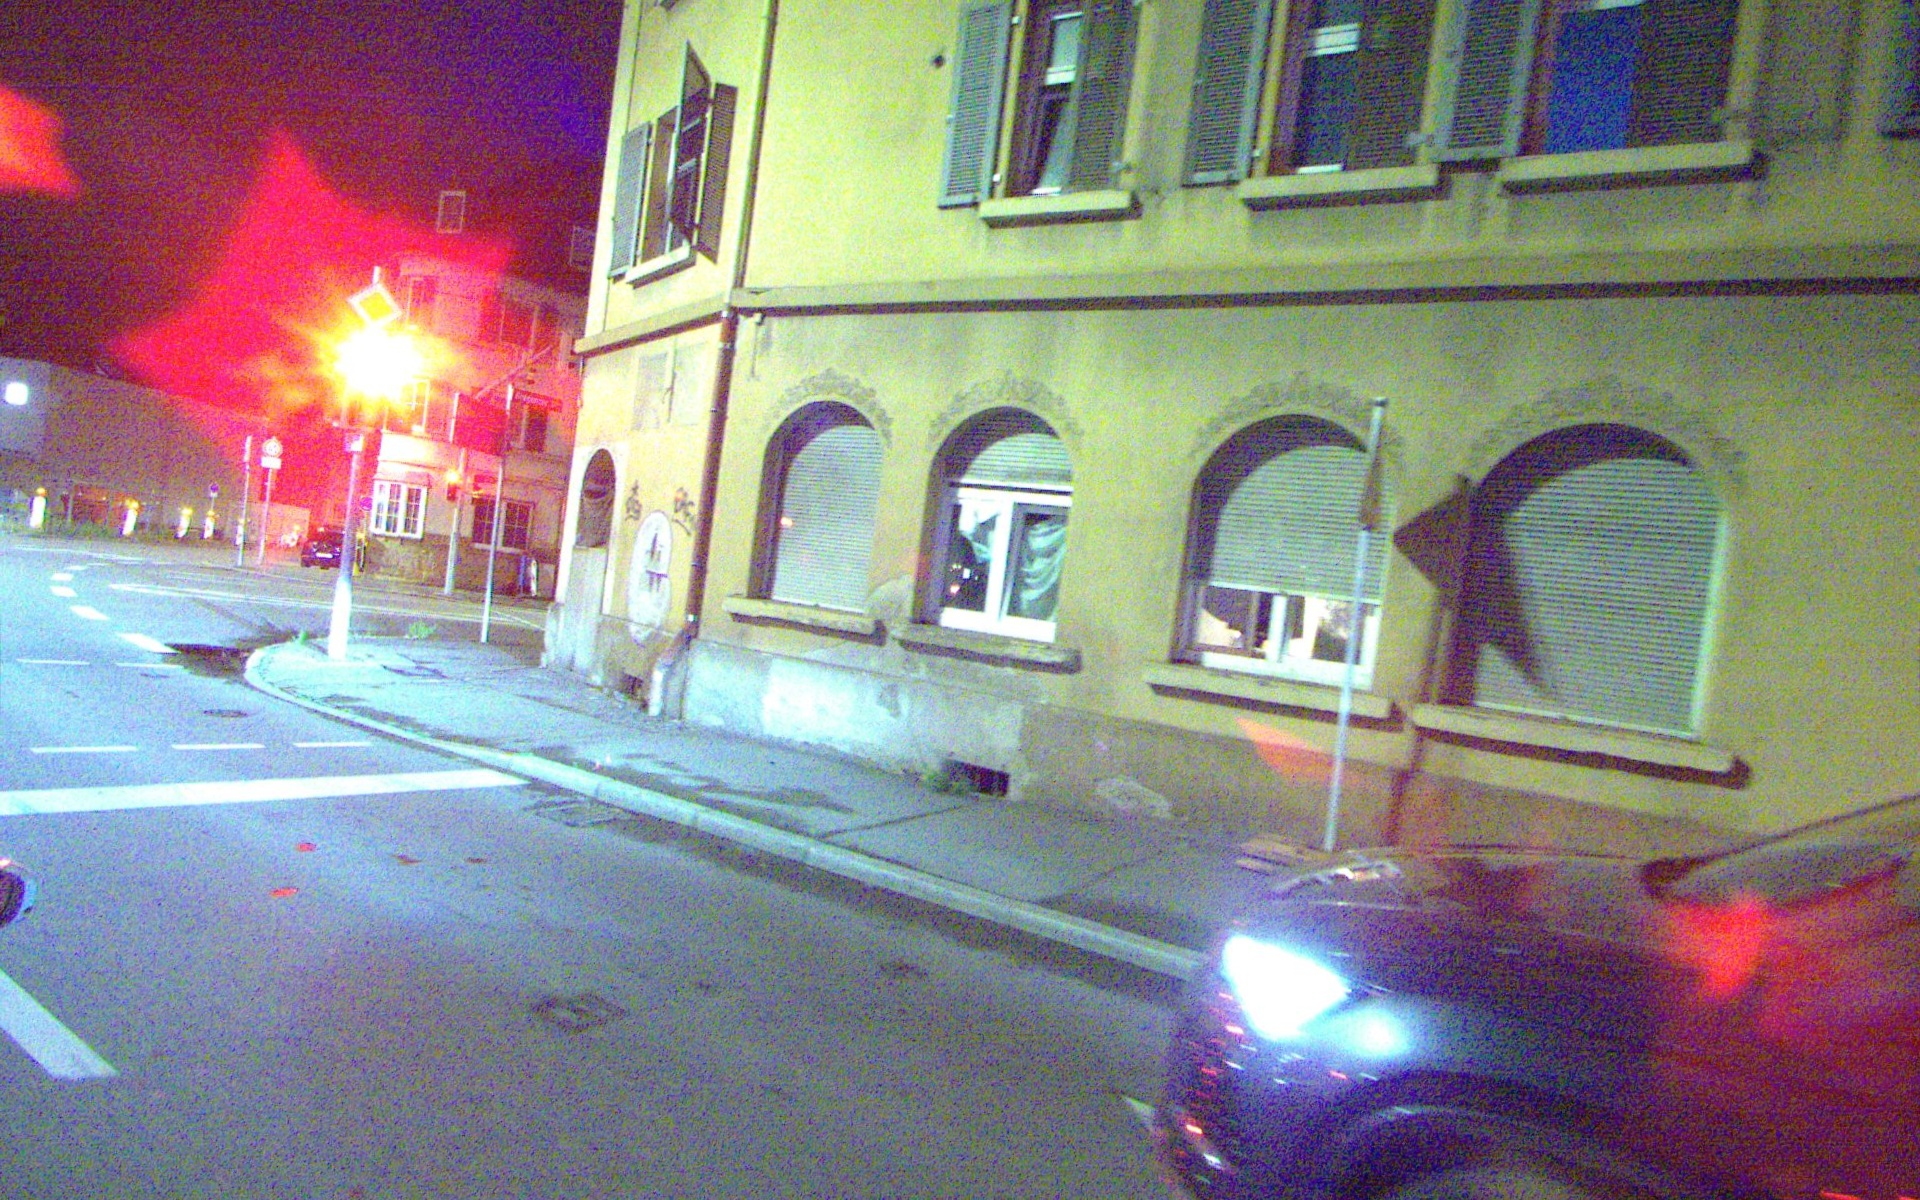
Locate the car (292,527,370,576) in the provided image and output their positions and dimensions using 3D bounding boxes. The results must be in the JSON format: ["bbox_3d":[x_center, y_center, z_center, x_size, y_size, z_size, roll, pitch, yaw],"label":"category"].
[{"bbox_3d":[-25.221,-1.891,40.457,1.708,1.631,3.610,7,-1,-18],"label":"car"}]

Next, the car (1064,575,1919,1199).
[{"bbox_3d":[2.467,1.008,1.791,4.158,1.629,1.673,6,-1,30],"label":"car"}]
